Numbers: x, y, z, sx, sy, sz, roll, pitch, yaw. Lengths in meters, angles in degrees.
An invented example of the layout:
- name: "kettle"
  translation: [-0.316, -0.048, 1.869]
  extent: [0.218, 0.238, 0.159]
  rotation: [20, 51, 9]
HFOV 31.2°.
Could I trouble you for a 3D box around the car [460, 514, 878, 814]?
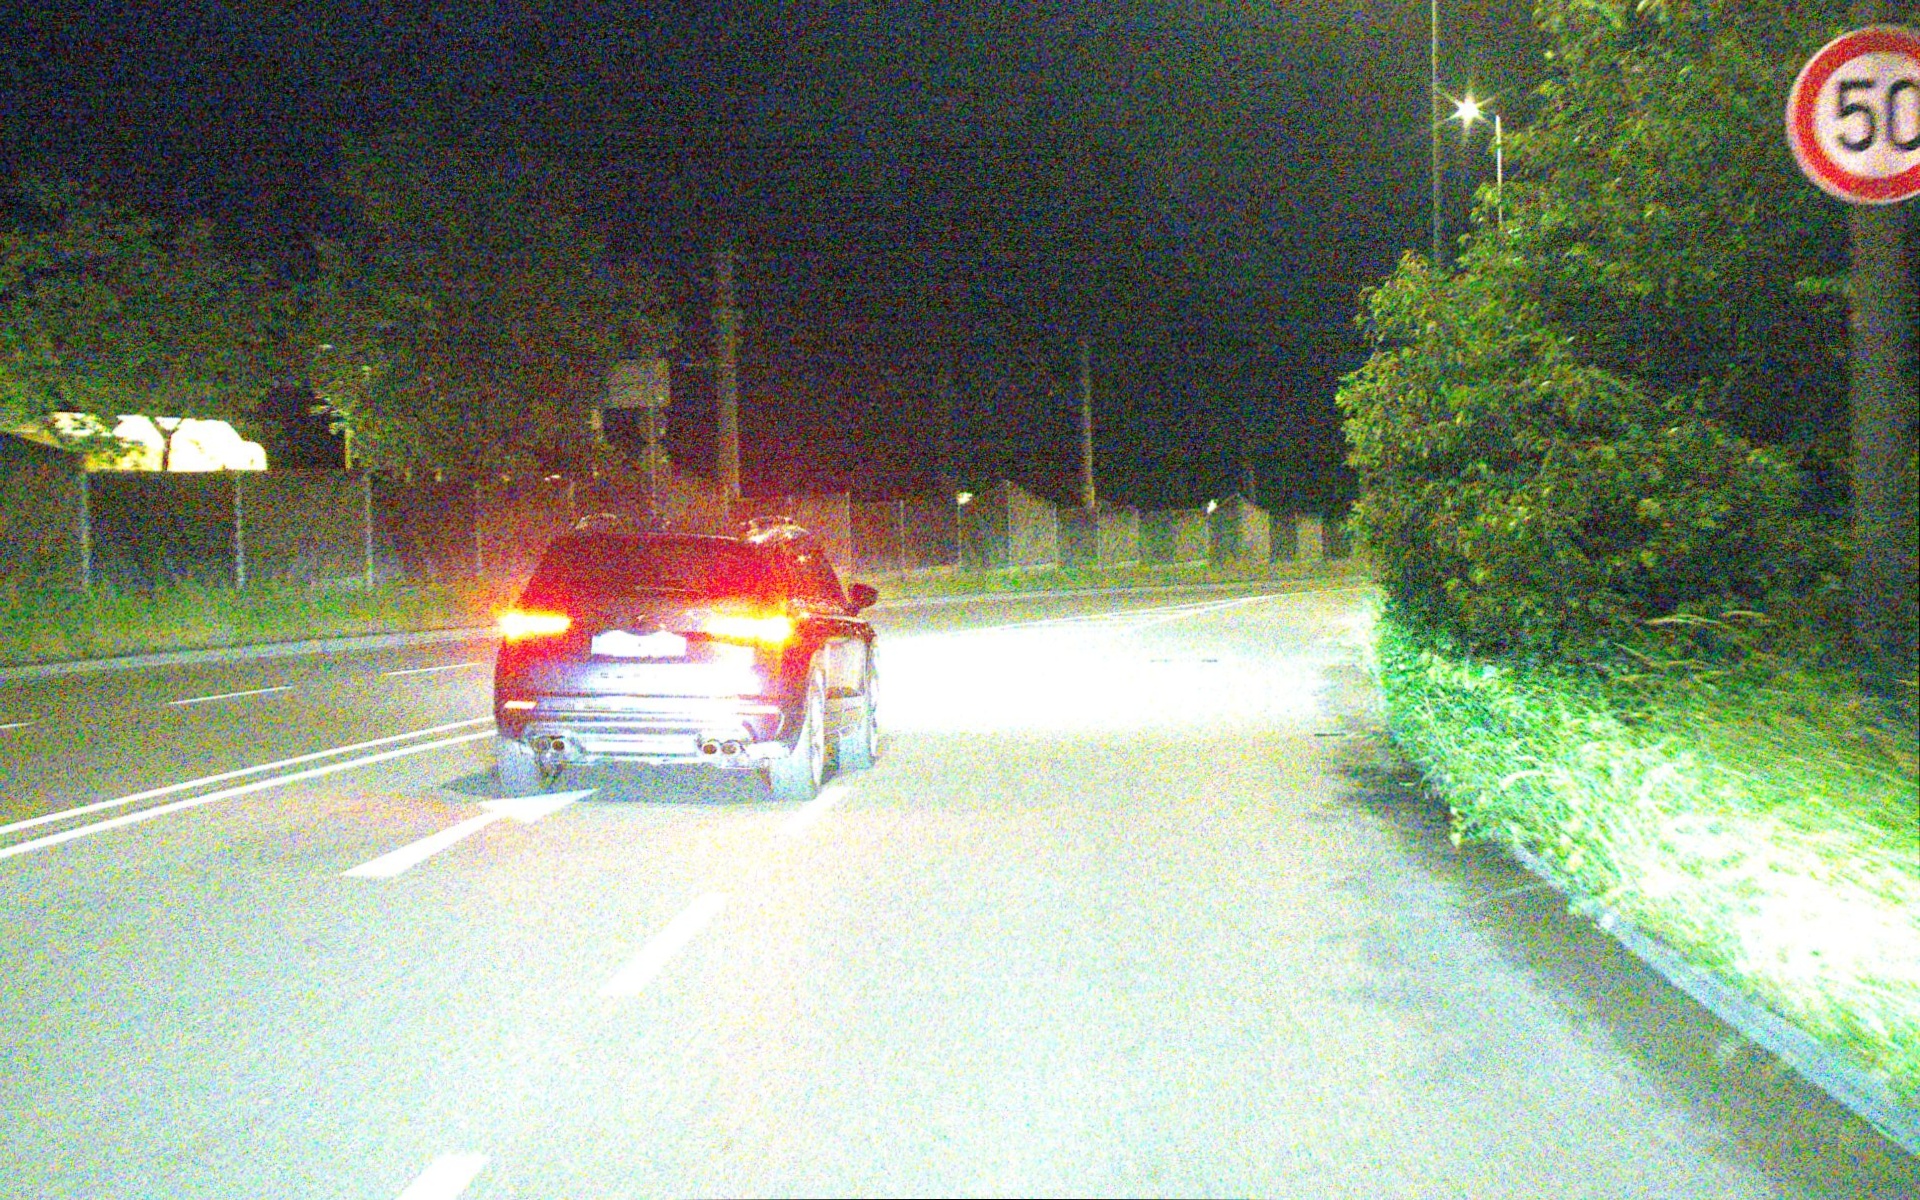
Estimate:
- name: "car"
  translation: [-1.621, 0.306, 20.470]
  extent: [1.815, 1.568, 3.943]
  rotation: [1, 1, 5]
